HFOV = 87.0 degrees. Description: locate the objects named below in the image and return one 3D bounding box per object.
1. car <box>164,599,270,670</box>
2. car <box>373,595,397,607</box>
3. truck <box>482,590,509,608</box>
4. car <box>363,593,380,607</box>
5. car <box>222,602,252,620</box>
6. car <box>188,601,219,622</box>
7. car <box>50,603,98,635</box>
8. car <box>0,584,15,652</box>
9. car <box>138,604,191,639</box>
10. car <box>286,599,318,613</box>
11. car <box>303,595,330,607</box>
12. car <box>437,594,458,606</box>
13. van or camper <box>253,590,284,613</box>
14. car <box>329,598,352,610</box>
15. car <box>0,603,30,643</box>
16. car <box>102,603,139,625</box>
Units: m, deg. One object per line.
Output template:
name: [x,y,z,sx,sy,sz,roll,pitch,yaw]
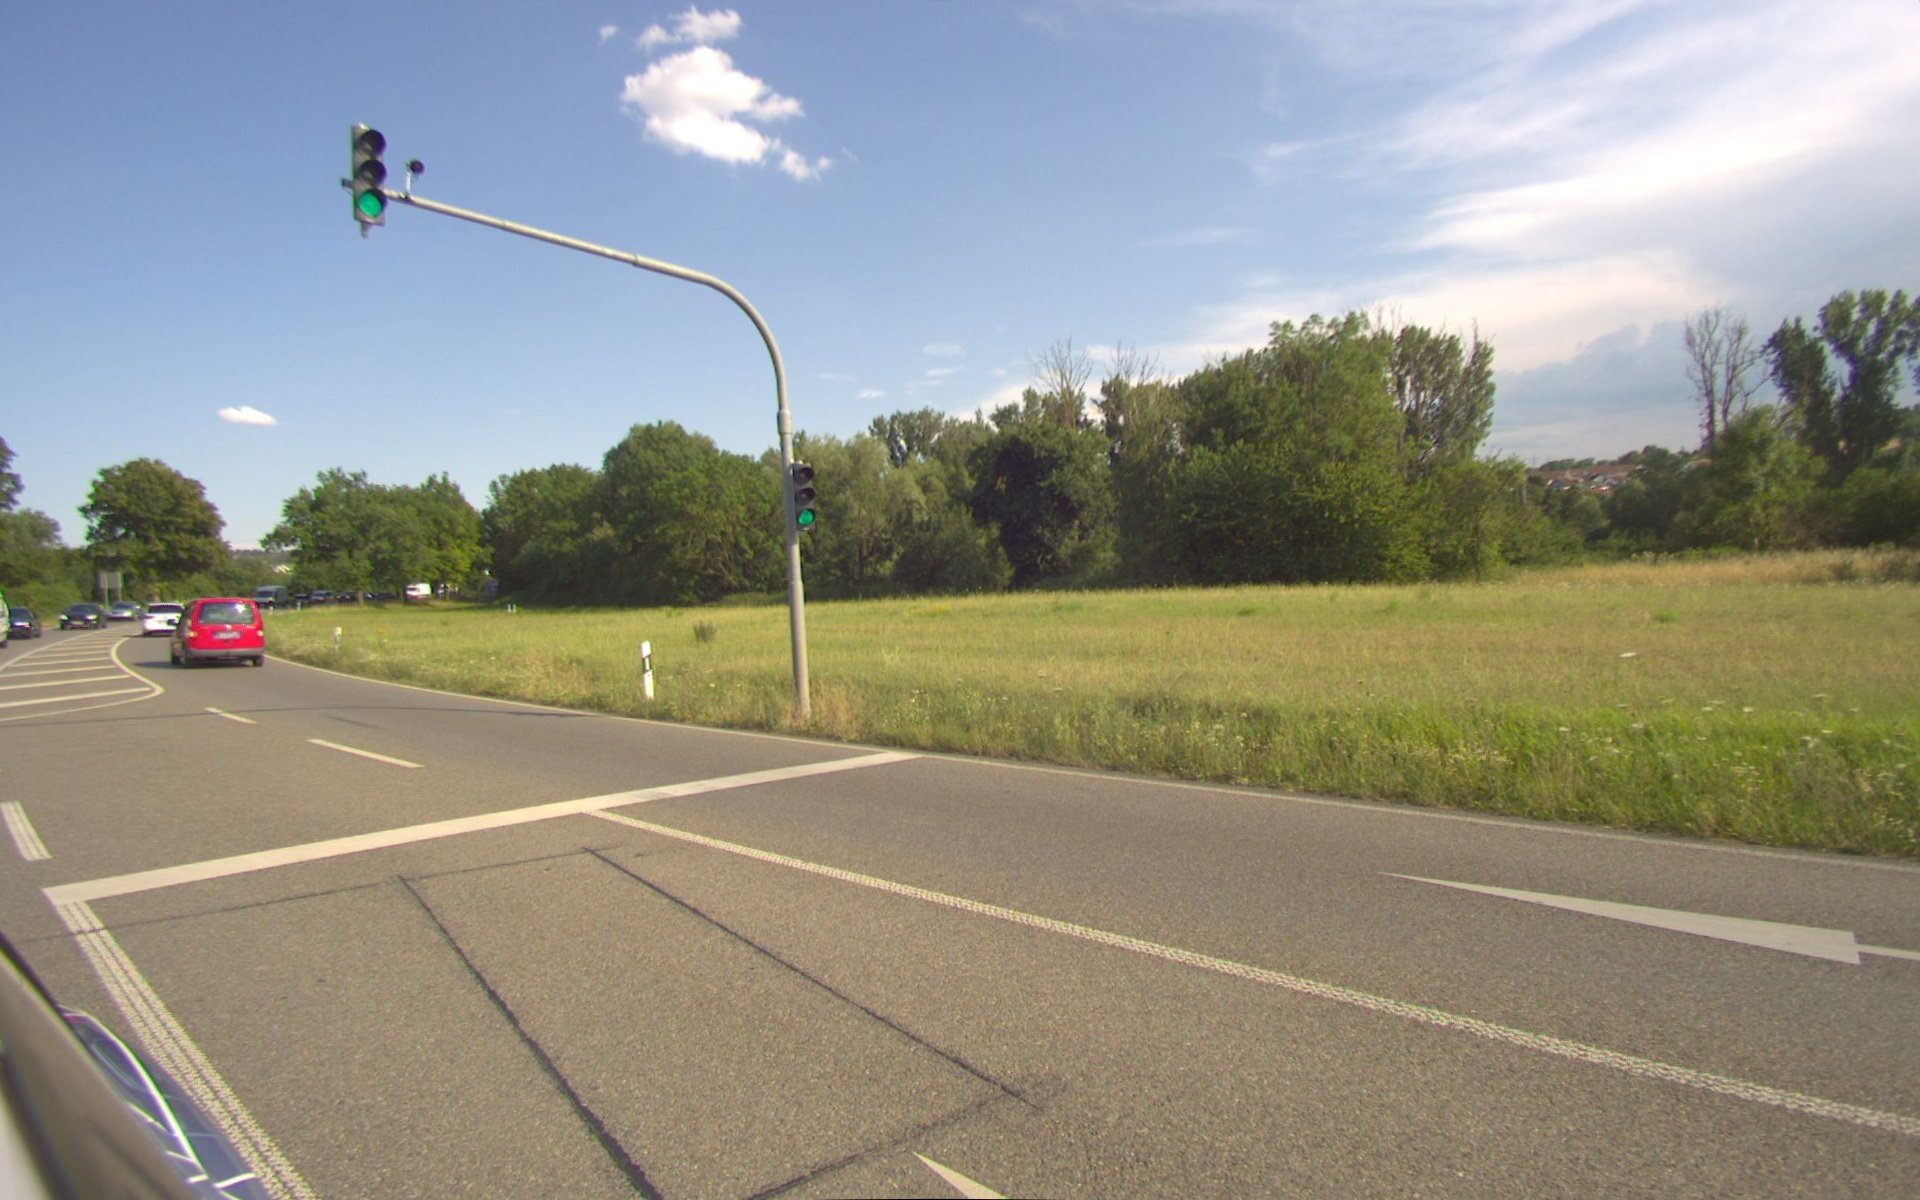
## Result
car: [-20.400,0.937,27.725,1.858,1.789,4.326,1,-2,-43]
car: [-85.464,0.111,150.462,1.967,1.563,4.011,-3,2,-13]
truck: [-92.674,-0.249,202.105,2.880,3.237,6.692,-3,1,-7]
car: [-92.952,0.017,159.789,1.385,2.028,3.243,-3,1,-14]
car: [-62.128,0.965,87.055,1.721,1.478,3.490,1,-1,-29]
car: [-72.486,1.102,97.027,1.613,1.913,3.517,-3,1,-25]
car: [-51.040,1.069,58.357,1.647,1.741,3.678,0,0,-35]
car: [-34.762,0.622,35.445,1.815,2.369,4.801,1,-1,-36]
car: [-38.382,1.044,48.886,1.855,1.598,4.340,0,-2,-36]
car: [-75.588,0.733,116.286,1.900,1.598,4.085,0,-1,-16]
car: [-86.424,0.127,135.982,1.966,1.563,4.012,-3,2,-16]
car: [-89.551,0.017,176.911,1.969,1.871,4.007,-3,2,-8]
van or camper: [-81.569,0.161,119.415,2.000,2.494,5.094,-3,1,-24]
car: [-90.118,0.627,147.249,1.966,1.563,4.013,-3,2,-18]
car: [-42.704,1.002,45.061,1.668,1.741,3.675,1,-1,-39]
car: [-61.472,1.005,74.116,1.608,1.570,3.427,1,0,-32]
